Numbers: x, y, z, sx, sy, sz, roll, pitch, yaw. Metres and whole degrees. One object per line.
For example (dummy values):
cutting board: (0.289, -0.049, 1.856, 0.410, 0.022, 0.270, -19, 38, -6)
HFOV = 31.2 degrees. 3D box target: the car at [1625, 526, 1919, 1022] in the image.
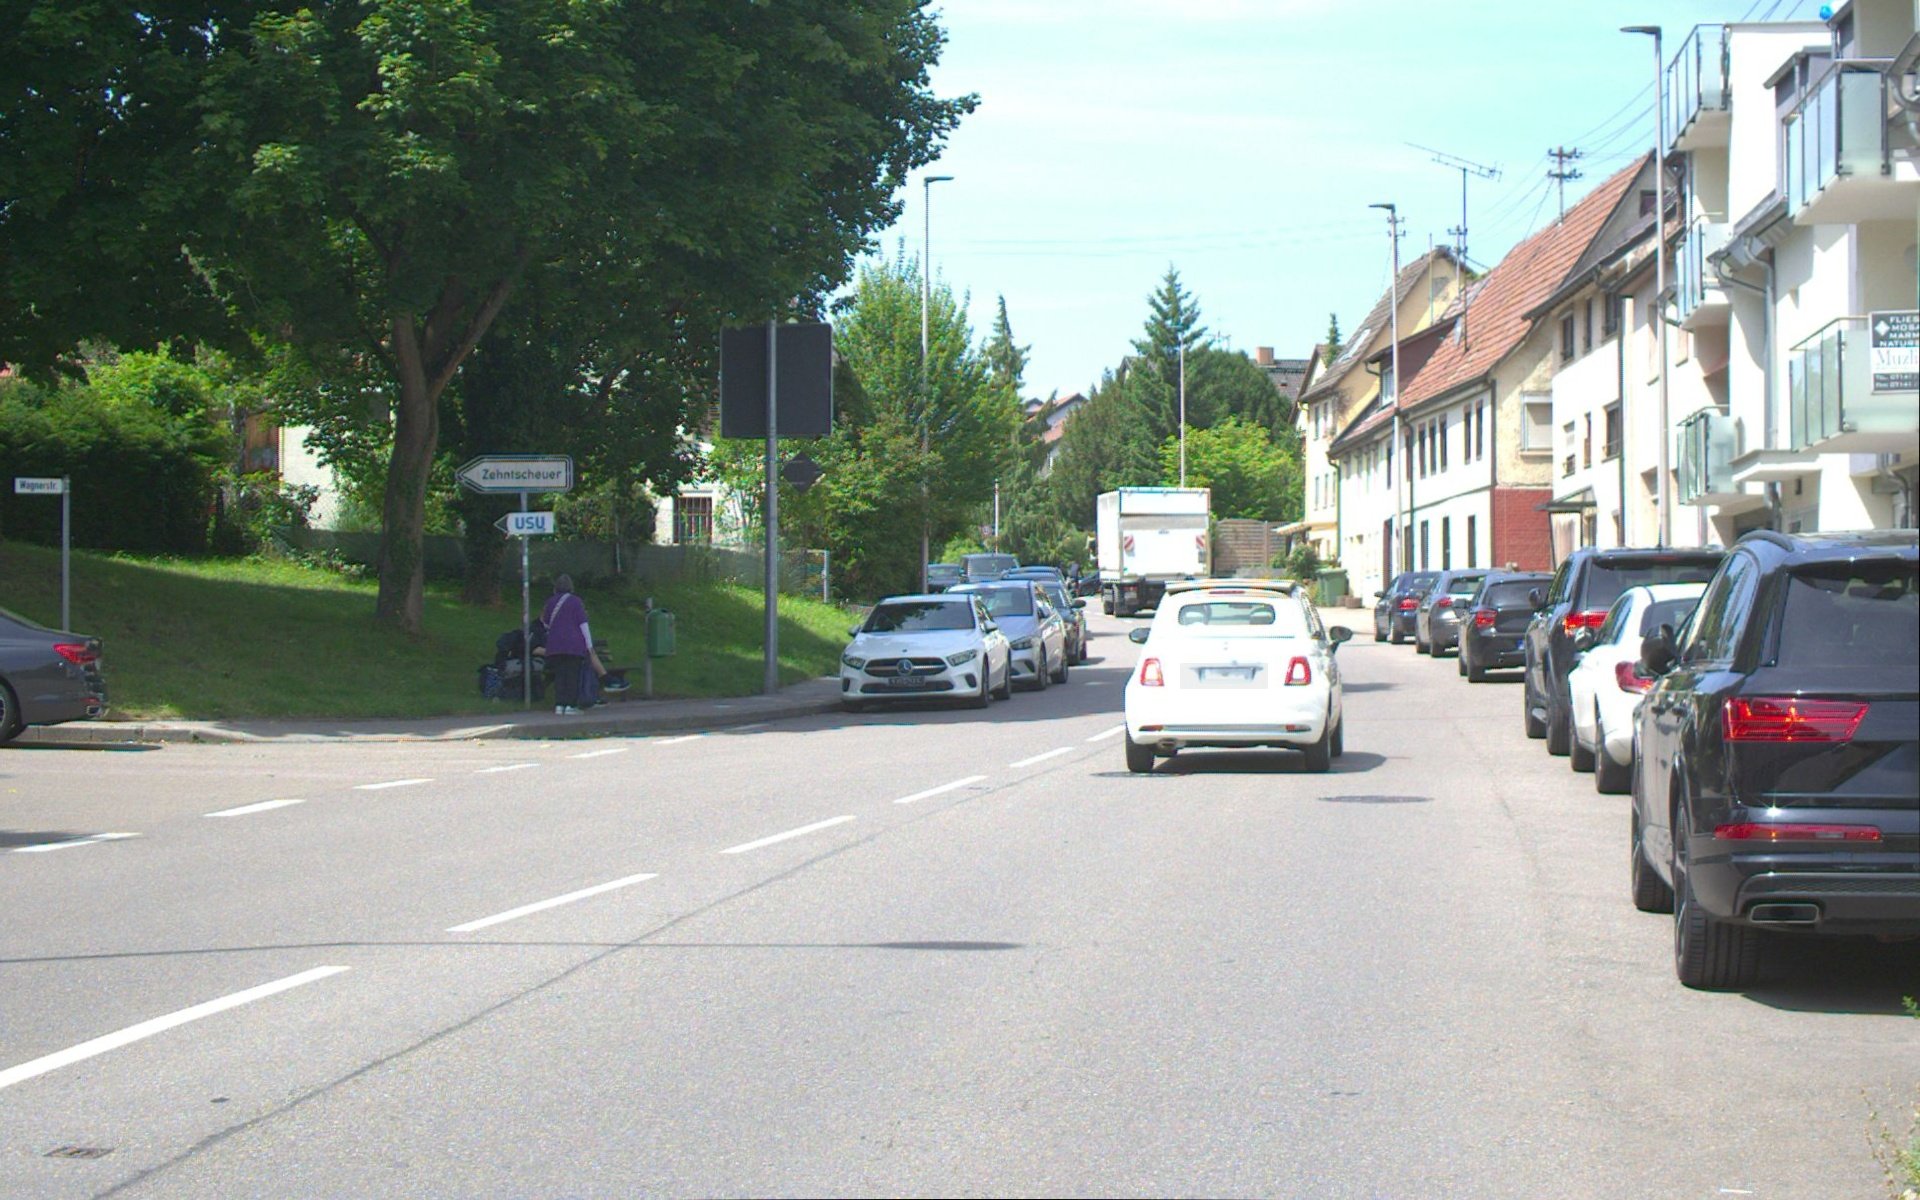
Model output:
car: (3.743, 0.589, 13.847, 1.844, 1.664, 4.654, 1, 0, 8)

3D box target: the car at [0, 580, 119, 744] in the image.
car: (-10.497, 0.485, 32.511, 4.774, 1.474, 2.001, 3, 0, -11)

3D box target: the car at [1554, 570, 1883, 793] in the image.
car: (5.465, 0.524, 25.283, 1.789, 1.450, 4.716, -1, 1, 6)

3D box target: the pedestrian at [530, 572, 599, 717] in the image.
pedestrian: (-4.443, 0.491, 38.610, 0.730, 1.611, 0.629, 1, 0, -9)

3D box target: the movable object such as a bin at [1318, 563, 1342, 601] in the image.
movable object such as a bin: (10.543, -0.516, 97.954, 0.546, 1.030, 0.551, -3, 1, -1)

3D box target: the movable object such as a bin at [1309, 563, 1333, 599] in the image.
movable object such as a bin: (10.476, -0.553, 99.759, 0.546, 1.030, 0.551, -3, 1, -1)

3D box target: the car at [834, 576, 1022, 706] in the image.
car: (-0.347, 0.482, 43.293, 1.755, 1.462, 4.361, -2, 0, 7)

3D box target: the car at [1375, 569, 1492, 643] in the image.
car: (9.080, 0.093, 66.174, 1.666, 1.348, 4.187, 0, 1, 0)

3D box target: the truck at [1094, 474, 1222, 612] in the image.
truck: (5.655, -1.581, 99.332, 3.068, 3.761, 7.868, -1, 0, -1)

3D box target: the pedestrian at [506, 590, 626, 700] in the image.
pedestrian: (-4.633, 0.525, 40.432, 1.237, 1.265, 0.646, 1, 0, 12)

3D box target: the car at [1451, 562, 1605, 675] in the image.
car: (7.623, 0.228, 46.433, 1.797, 1.420, 4.289, -2, 0, 6)

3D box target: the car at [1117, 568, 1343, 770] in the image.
car: (2.305, 0.515, 28.526, 1.725, 1.555, 3.999, 0, 0, 7)

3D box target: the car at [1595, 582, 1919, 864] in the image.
car: (4.696, 0.632, 20.002, 1.789, 1.415, 4.356, -1, 1, 8)

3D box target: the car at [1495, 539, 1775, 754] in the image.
car: (5.862, 0.349, 30.368, 1.954, 1.710, 4.716, -1, 1, 6)

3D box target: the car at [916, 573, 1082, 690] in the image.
car: (0.608, 0.421, 49.466, 1.773, 1.522, 4.220, -2, 0, 8)

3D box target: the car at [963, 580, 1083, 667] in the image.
car: (1.159, 0.386, 61.154, 1.805, 1.419, 4.927, -2, 0, 4)

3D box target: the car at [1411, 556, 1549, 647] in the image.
car: (8.643, 0.000, 57.462, 1.794, 1.398, 4.412, -2, 1, 3)
